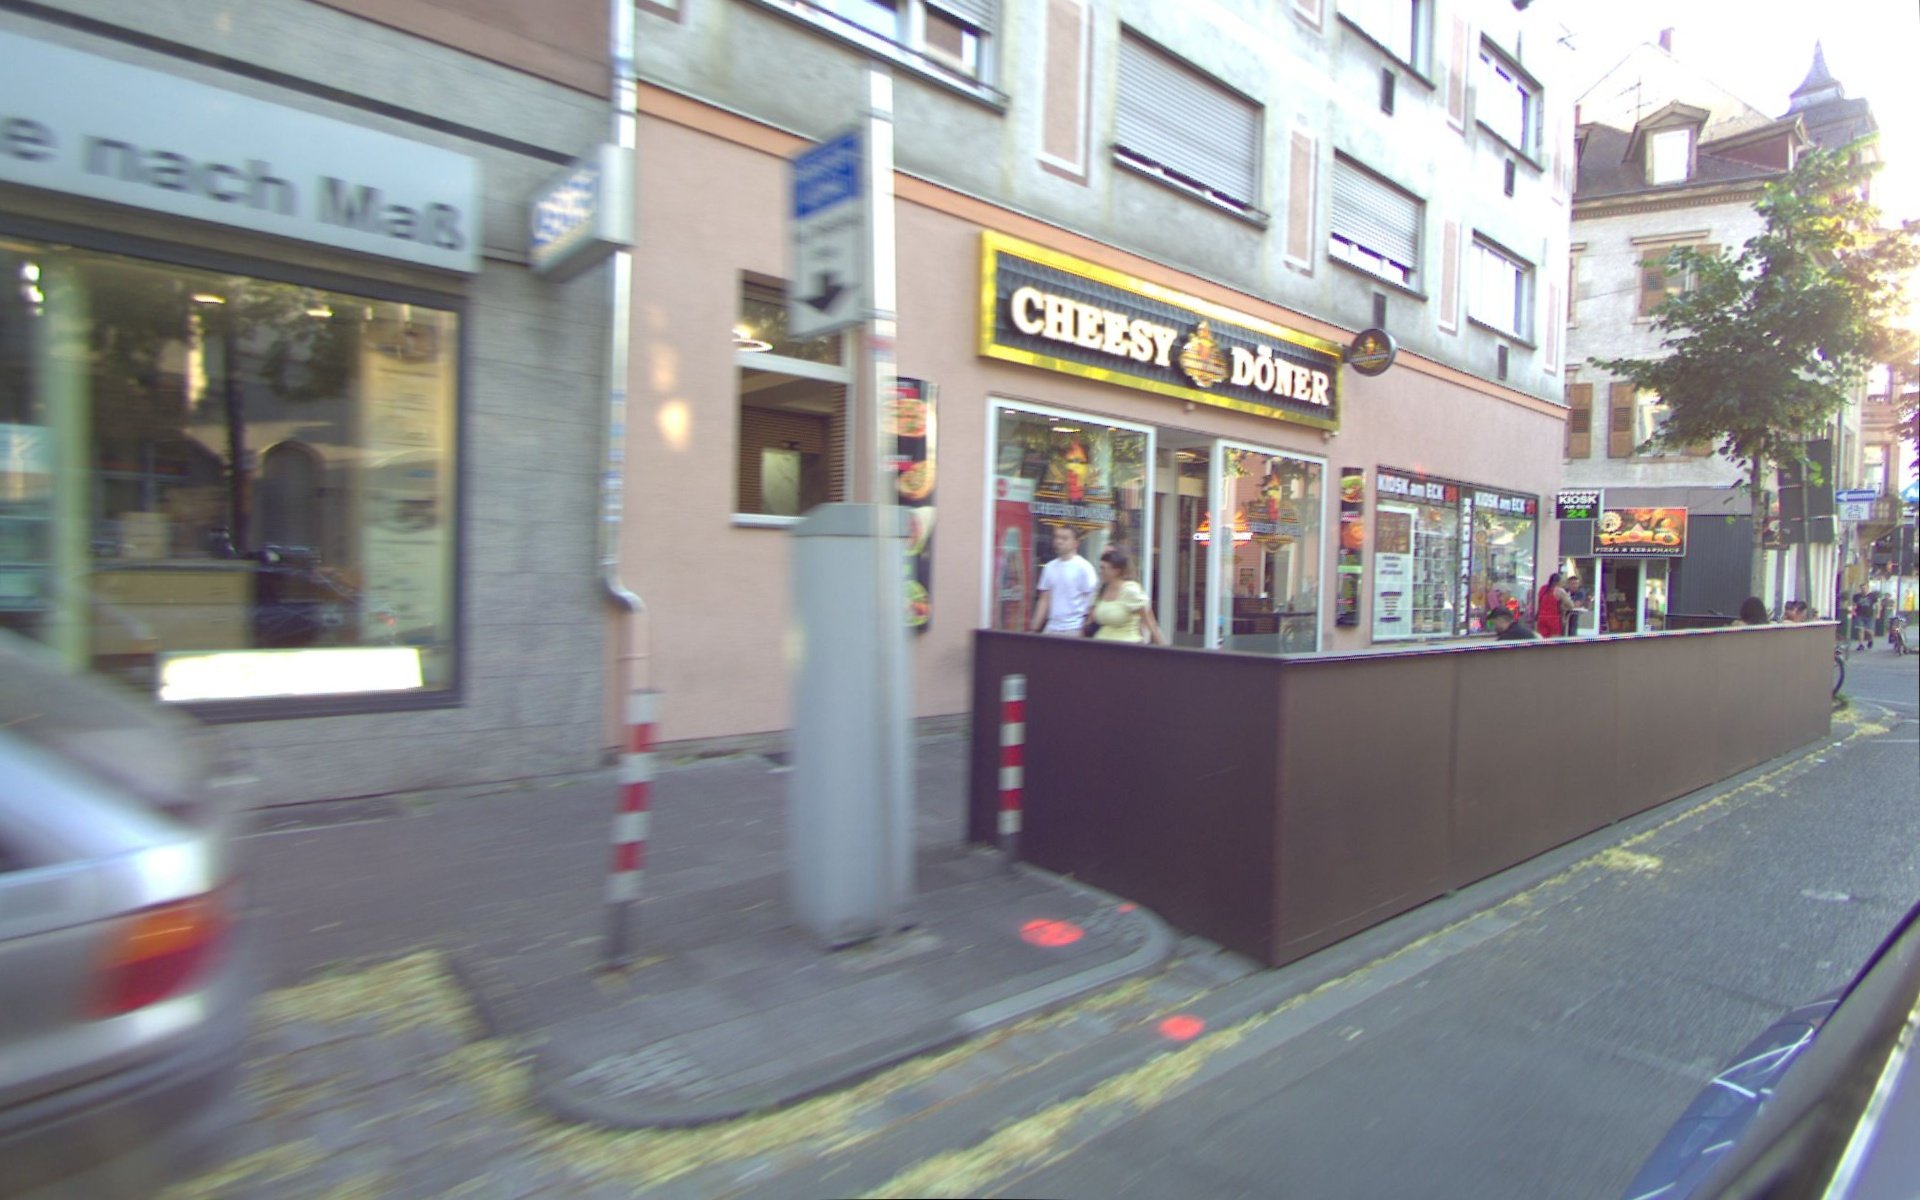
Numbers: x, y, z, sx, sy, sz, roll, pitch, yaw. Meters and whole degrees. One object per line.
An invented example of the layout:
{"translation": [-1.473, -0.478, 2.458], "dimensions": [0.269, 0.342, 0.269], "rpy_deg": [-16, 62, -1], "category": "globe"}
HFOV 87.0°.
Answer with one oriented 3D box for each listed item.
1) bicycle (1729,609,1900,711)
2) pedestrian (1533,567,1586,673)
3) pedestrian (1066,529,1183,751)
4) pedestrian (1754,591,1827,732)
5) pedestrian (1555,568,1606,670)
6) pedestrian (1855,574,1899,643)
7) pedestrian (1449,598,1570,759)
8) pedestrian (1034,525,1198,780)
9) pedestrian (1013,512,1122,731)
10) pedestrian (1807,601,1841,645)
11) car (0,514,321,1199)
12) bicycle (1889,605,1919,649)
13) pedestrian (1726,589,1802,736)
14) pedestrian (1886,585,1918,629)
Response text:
{"translation": [11.700, 0.777, 13.960], "dimensions": [0.469, 1.230, 2.063], "rpy_deg": [1, 1, -4], "category": "bicycle"}
{"translation": [9.626, 0.310, 16.257], "dimensions": [0.563, 1.643, 0.493], "rpy_deg": [0, 3, -39], "category": "pedestrian"}
{"translation": [1.294, 0.289, 7.969], "dimensions": [0.657, 1.652, 0.607], "rpy_deg": [0, 1, -41], "category": "pedestrian"}
{"translation": [9.289, 0.667, 11.320], "dimensions": [0.553, 1.498, 0.448], "rpy_deg": [0, 3, -39], "category": "pedestrian"}
{"translation": [10.313, 0.302, 16.822], "dimensions": [0.563, 1.643, 0.493], "rpy_deg": [0, 3, -39], "category": "pedestrian"}
{"translation": [26.098, 0.222, 28.796], "dimensions": [0.743, 1.898, 0.719], "rpy_deg": [0, 3, -39], "category": "pedestrian"}
{"translation": [4.878, 0.663, 8.989], "dimensions": [0.636, 1.322, 0.687], "rpy_deg": [0, 3, -39], "category": "pedestrian"}
{"translation": [1.099, 0.326, 7.124], "dimensions": [0.841, 1.652, 0.748], "rpy_deg": [0, 1, -41], "category": "pedestrian"}
{"translation": [0.908, 0.164, 8.595], "dimensions": [0.657, 1.760, 0.607], "rpy_deg": [0, 1, -41], "category": "pedestrian"}
{"translation": [23.683, 0.625, 27.743], "dimensions": [0.636, 1.148, 0.551], "rpy_deg": [0, 3, -39], "category": "pedestrian"}
{"translation": [-3.263, 0.592, 1.335], "dimensions": [3.918, 1.490, 1.832], "rpy_deg": [0, 6, -38], "category": "car"}
{"translation": [25.480, 0.717, 27.042], "dimensions": [2.021, 1.121, 0.479], "rpy_deg": [0, 1, -33], "category": "bicycle"}
{"translation": [8.568, 0.641, 10.785], "dimensions": [0.538, 1.498, 0.448], "rpy_deg": [0, 3, -39], "category": "pedestrian"}
{"translation": [35.297, 0.259, 37.915], "dimensions": [0.743, 1.593, 0.719], "rpy_deg": [0, 3, -39], "category": "pedestrian"}
